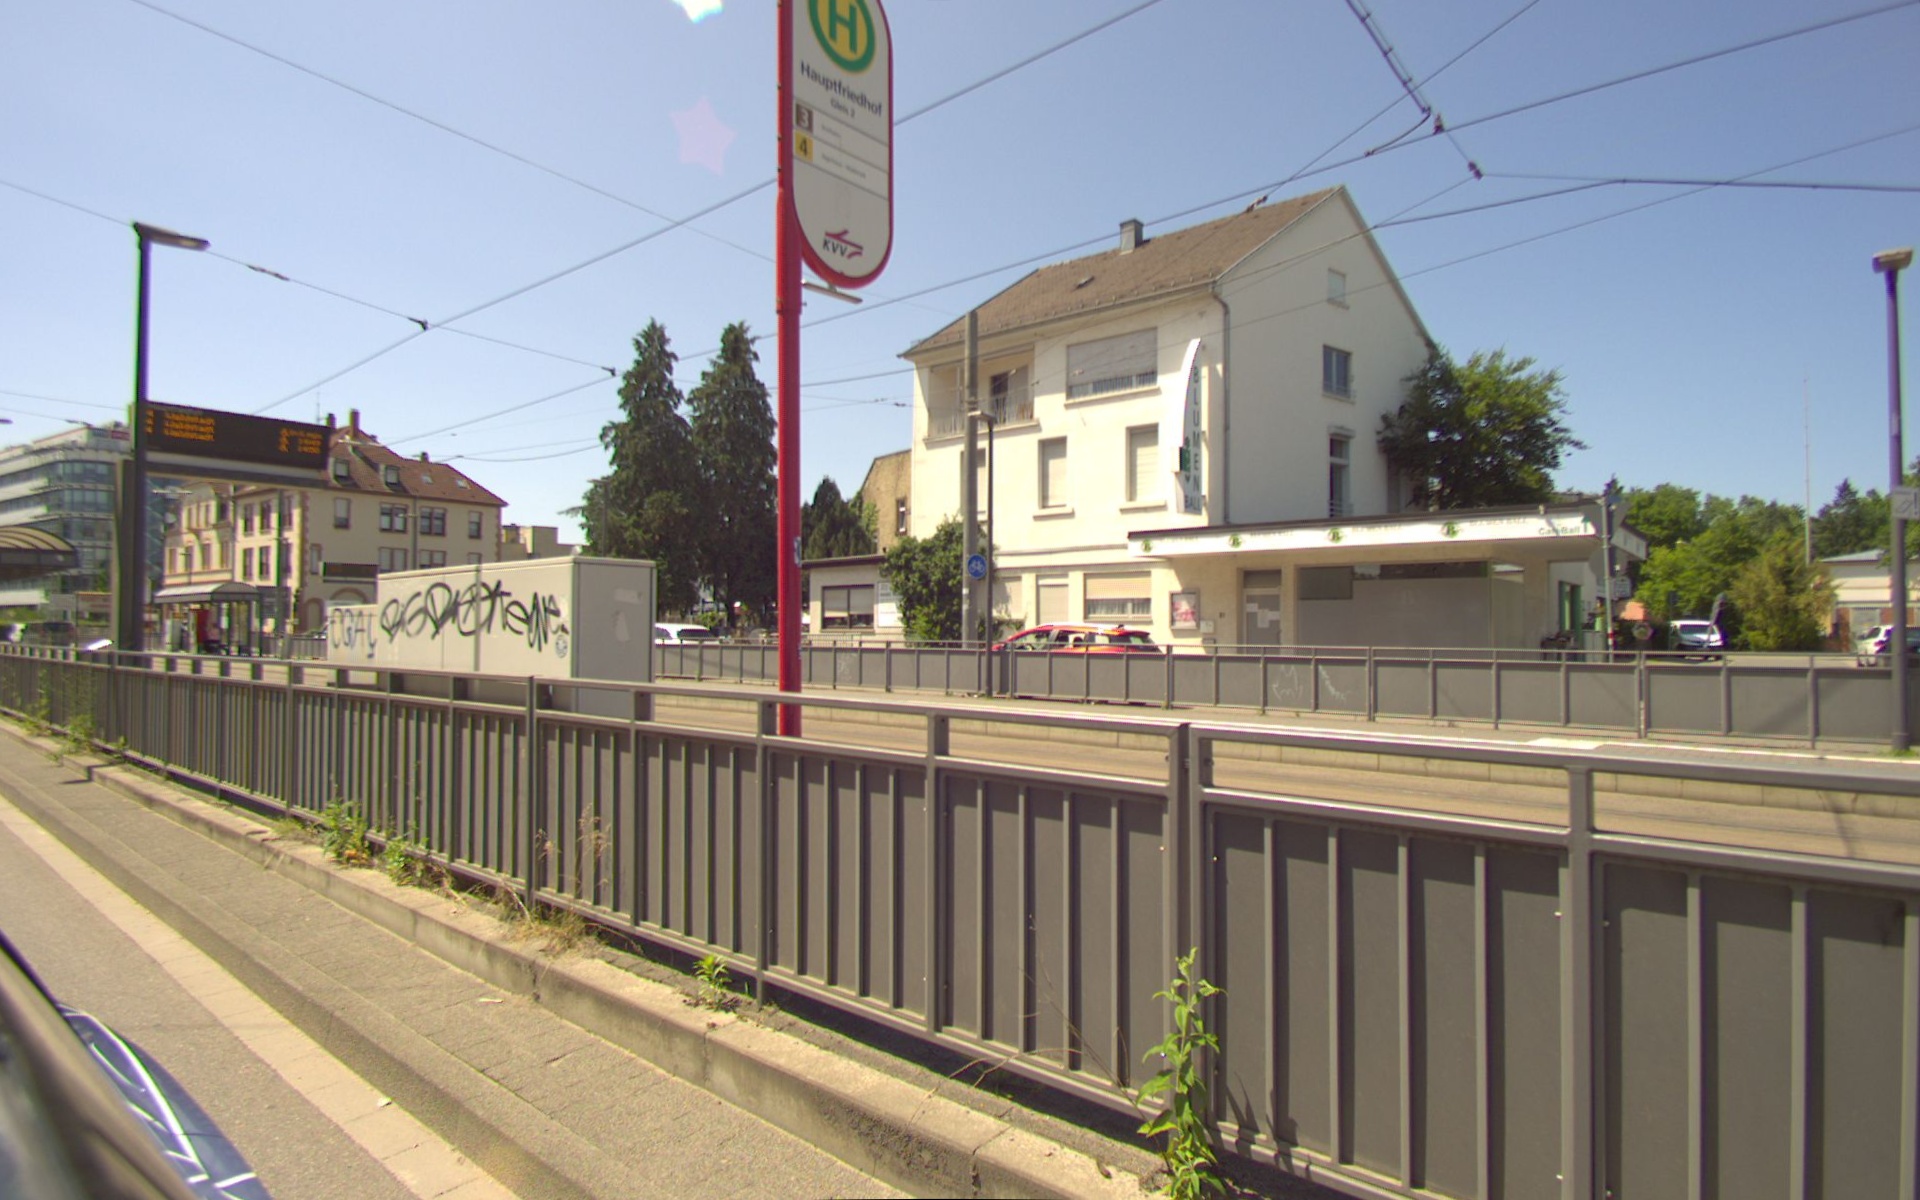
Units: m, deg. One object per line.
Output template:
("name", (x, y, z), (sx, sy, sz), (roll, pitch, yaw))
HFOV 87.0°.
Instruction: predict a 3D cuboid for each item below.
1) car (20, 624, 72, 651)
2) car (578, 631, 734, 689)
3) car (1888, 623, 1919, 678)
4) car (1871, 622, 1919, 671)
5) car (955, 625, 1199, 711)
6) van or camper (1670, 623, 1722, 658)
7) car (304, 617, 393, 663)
("car", (-64.518, 2.633, 71.440), (3.993, 1.852, 1.975), (-1, -2, 37))
("car", (-8.437, 1.603, 27.895), (4.618, 1.479, 1.800), (-1, -3, 39))
("car", (25.606, 1.339, 26.644), (1.644, 1.381, 3.760), (-2, -3, 42))
("car", (29.539, 1.444, 31.501), (1.644, 1.457, 3.761), (-2, -3, 41))
("car", (2.069, 1.189, 18.600), (4.171, 1.406, 1.799), (-1, -3, 40))
("van or camper", (34.685, 1.902, 47.792), (1.686, 1.578, 3.784), (-1, -2, 32))
("car", (-25.956, 1.695, 42.881), (4.696, 1.830, 1.836), (-2, -3, 41))
